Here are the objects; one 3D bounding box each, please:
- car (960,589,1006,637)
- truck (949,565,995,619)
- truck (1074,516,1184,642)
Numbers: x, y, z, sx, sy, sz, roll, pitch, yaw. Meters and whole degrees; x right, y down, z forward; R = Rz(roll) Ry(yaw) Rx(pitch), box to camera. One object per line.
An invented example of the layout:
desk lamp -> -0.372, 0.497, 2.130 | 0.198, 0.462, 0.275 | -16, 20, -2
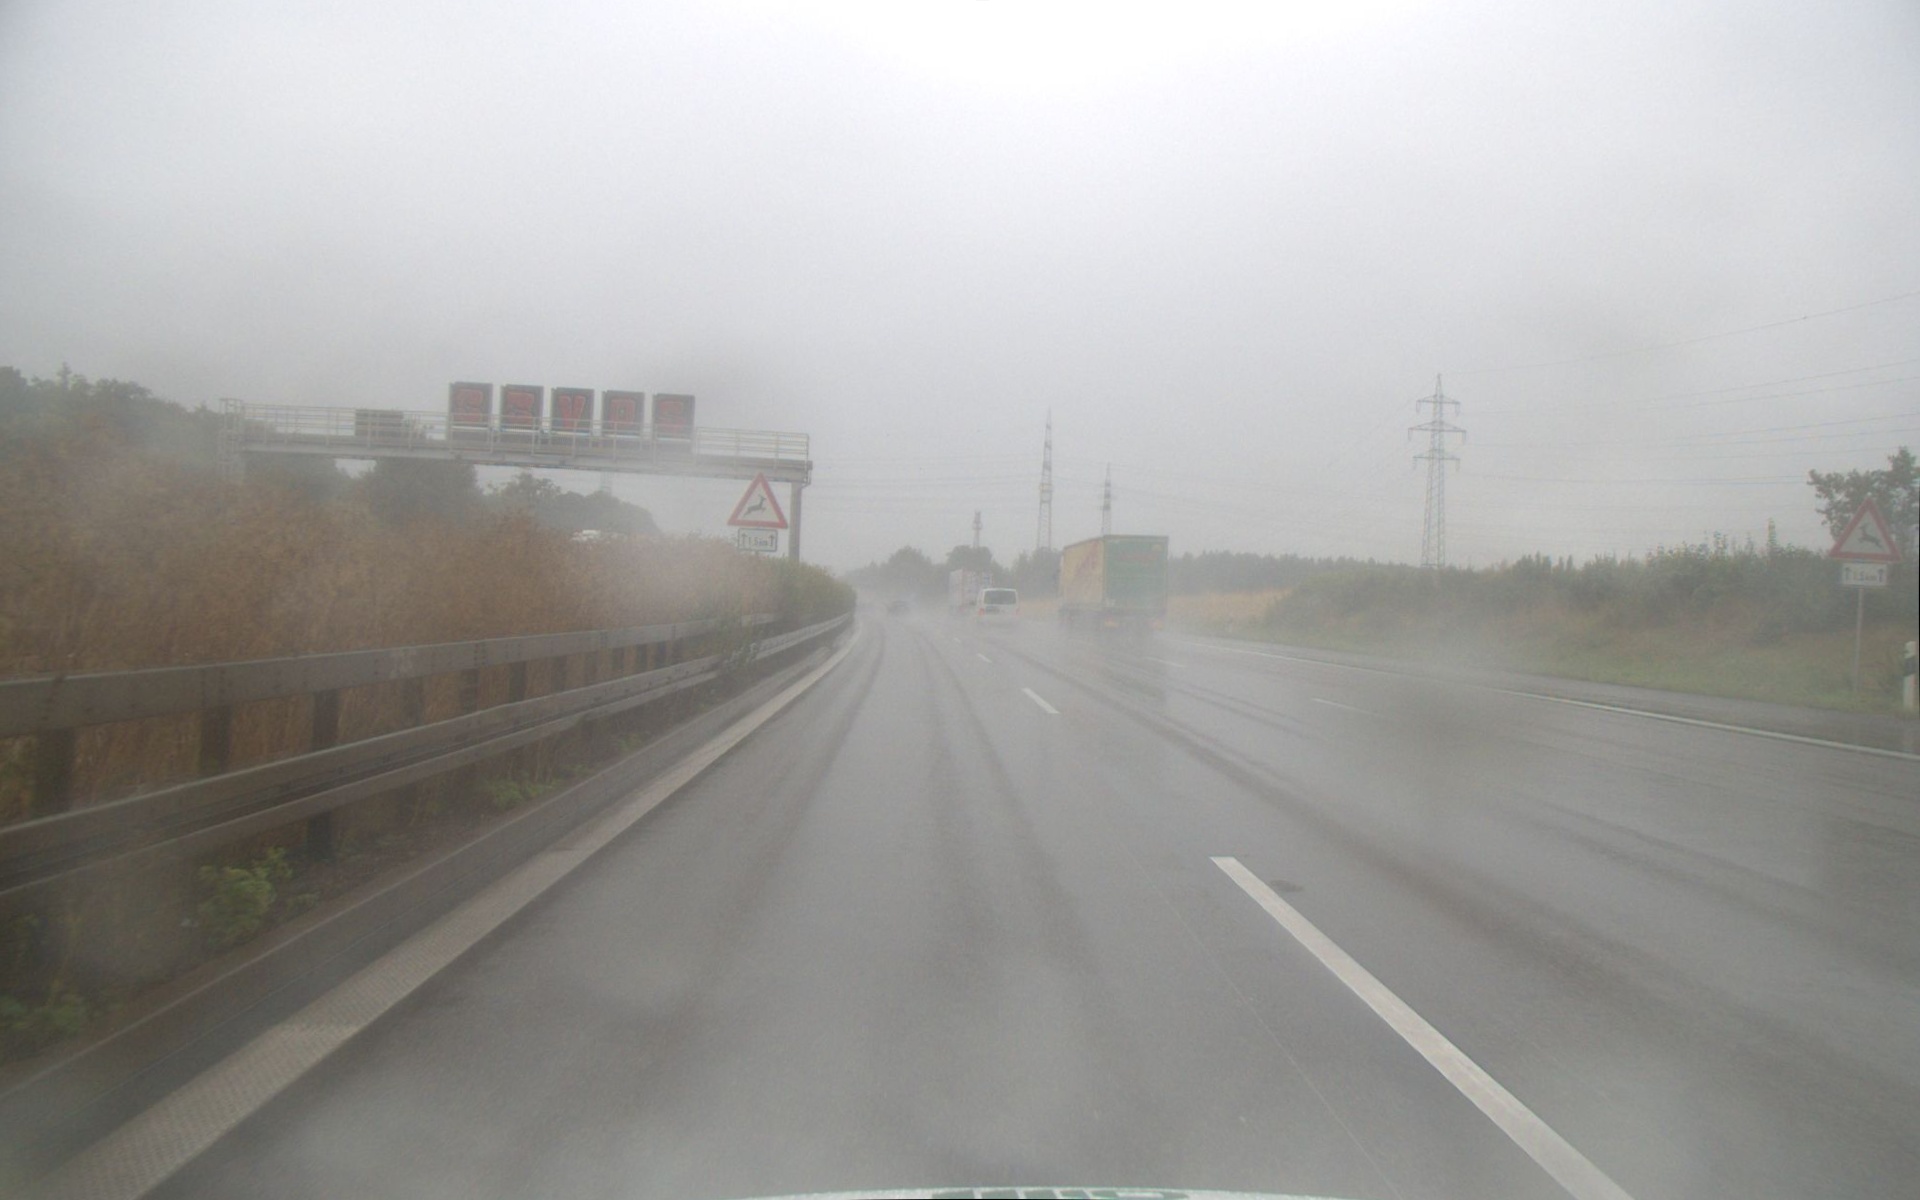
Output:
car -> 1.030, 0.539, 72.269 | 1.952, 2.049, 4.001 | 1, 0, 2
truck -> 0.983, -0.658, 139.905 | 3.169, 4.387, 8.829 | 1, 0, -4
truck -> 6.970, -0.769, 70.860 | 4.101, 4.711, 16.112 | 1, 0, 4
